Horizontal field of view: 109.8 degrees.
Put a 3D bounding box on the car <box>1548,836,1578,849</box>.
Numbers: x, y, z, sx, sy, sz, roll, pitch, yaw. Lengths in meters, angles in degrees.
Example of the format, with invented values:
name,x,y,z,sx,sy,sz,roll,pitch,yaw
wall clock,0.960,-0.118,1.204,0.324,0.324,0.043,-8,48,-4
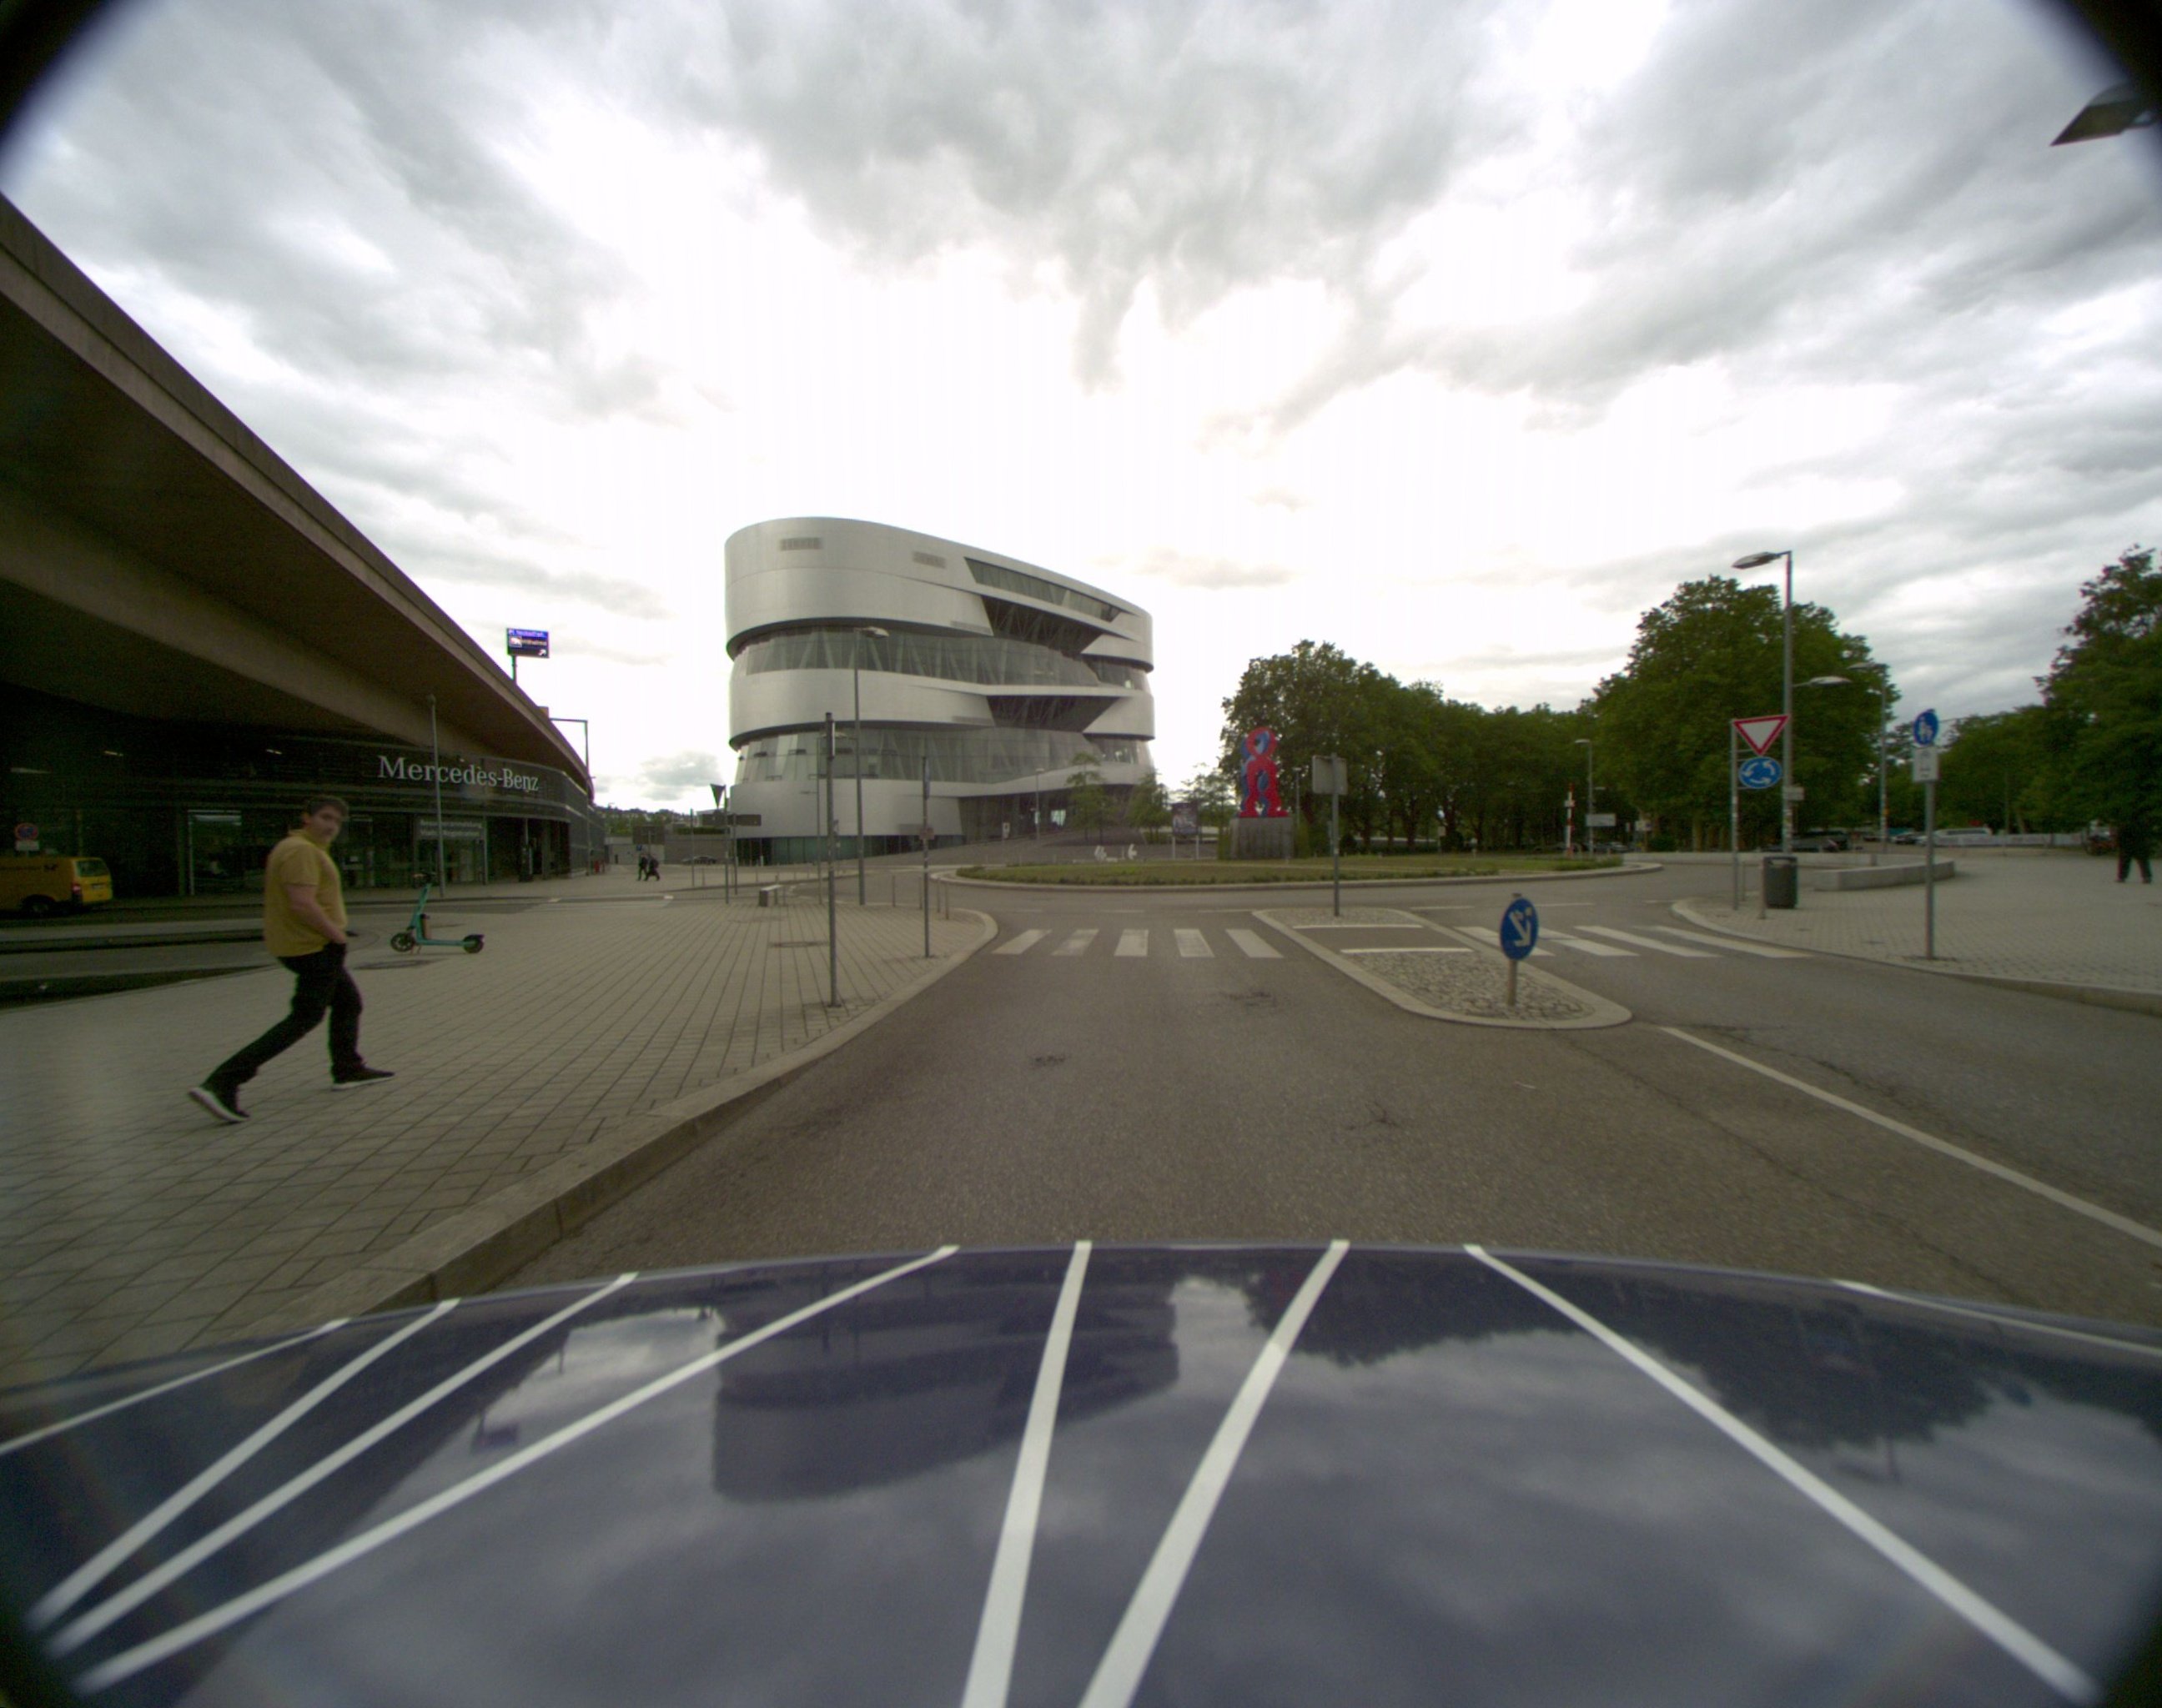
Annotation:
name,x,y,z,sx,sy,sz,roll,pitch,yaw
car,74.743,-1.794,117.844,1.691,1.838,3.440,-2,2,-37

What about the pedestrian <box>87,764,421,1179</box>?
name,x,y,z,sx,sy,sz,roll,pitch,yaw
pedestrian,-4.594,0.575,4.287,0.783,2.002,1.041,-1,0,22

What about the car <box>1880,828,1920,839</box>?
name,x,y,z,sx,sy,sz,roll,pitch,yaw
car,141.434,-3.481,131.256,4.424,1.642,1.800,-1,0,38

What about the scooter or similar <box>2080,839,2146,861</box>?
name,x,y,z,sx,sy,sz,roll,pitch,yaw
scooter or similar,54.253,-0.219,39.981,1.970,1.102,0.642,-1,0,41

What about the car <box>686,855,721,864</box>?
name,x,y,z,sx,sy,sz,roll,pitch,yaw
car,-60.799,0.925,122.522,4.915,1.390,1.531,-1,0,-32

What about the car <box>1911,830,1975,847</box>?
name,x,y,z,sx,sy,sz,roll,pitch,yaw
car,93.387,-1.692,82.405,4.424,1.642,1.800,-1,0,42

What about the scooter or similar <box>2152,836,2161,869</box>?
name,x,y,z,sx,sy,sz,roll,pitch,yaw
scooter or similar,37.741,-0.072,25.513,1.970,1.102,0.642,-1,0,41

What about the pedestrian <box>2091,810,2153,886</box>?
name,x,y,z,sx,sy,sz,roll,pitch,yaw
pedestrian,25.435,-0.139,18.580,0.867,1.797,0.791,-1,0,-42

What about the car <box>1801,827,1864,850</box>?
name,x,y,z,sx,sy,sz,roll,pitch,yaw
car,63.081,-1.276,63.833,1.674,1.767,3.701,-1,0,-44

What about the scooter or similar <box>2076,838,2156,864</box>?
name,x,y,z,sx,sy,sz,roll,pitch,yaw
scooter or similar,45.571,-0.131,33.491,1.970,1.102,0.642,-1,0,41

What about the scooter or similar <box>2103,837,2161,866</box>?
name,x,y,z,sx,sy,sz,roll,pitch,yaw
scooter or similar,41.760,-0.095,29.765,1.970,1.102,0.642,-1,0,41

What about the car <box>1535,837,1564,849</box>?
name,x,y,z,sx,sy,sz,roll,pitch,yaw
car,70.984,-1.693,115.107,3.440,1.675,1.691,0,2,42

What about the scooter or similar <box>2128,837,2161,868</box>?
name,x,y,z,sx,sy,sz,roll,pitch,yaw
scooter or similar,39.180,-0.079,27.156,1.970,1.102,0.642,-1,0,41

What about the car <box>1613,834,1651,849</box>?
name,x,y,z,sx,sy,sz,roll,pitch,yaw
car,70.783,-1.617,97.706,1.674,1.767,3.701,-1,0,-45

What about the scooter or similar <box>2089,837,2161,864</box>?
name,x,y,z,sx,sy,sz,roll,pitch,yaw
scooter or similar,43.997,-0.130,31.880,1.970,1.098,0.642,-1,0,41

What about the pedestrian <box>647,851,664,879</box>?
name,x,y,z,sx,sy,sz,roll,pitch,yaw
pedestrian,-26.631,0.696,47.580,0.774,1.695,0.785,-1,0,-42

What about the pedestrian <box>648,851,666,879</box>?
name,x,y,z,sx,sy,sz,roll,pitch,yaw
pedestrian,-26.156,0.693,46.844,0.774,1.695,0.863,-1,0,-43

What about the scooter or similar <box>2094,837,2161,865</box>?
name,x,y,z,sx,sy,sz,roll,pitch,yaw
scooter or similar,43.477,-0.117,31.302,1.970,1.102,0.642,-1,0,41

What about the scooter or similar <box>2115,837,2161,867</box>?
name,x,y,z,sx,sy,sz,roll,pitch,yaw
scooter or similar,40.395,-0.084,28.389,1.970,1.102,0.642,-1,0,41

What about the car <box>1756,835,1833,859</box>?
name,x,y,z,sx,sy,sz,roll,pitch,yaw
car,48.946,-0.486,52.208,3.815,1.516,1.783,-1,-1,43

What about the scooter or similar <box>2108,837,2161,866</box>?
name,x,y,z,sx,sy,sz,roll,pitch,yaw
scooter or similar,41.002,-0.099,29.043,1.970,1.102,0.642,-1,0,41

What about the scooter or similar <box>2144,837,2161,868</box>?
name,x,y,z,sx,sy,sz,roll,pitch,yaw
scooter or similar,38.235,-0.068,26.051,1.970,1.102,0.642,-1,0,41

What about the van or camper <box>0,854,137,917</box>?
name,x,y,z,sx,sy,sz,roll,pitch,yaw
van or camper,-35.080,1.048,24.966,4.511,1.987,2.357,-1,-1,-27

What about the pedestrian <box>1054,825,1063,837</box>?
name,x,y,z,sx,sy,sz,roll,pitch,yaw
pedestrian,-3.587,-3.722,122.609,0.850,1.914,0.954,-1,4,45

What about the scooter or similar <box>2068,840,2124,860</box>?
name,x,y,z,sx,sy,sz,roll,pitch,yaw
scooter or similar,56.560,-0.208,42.353,1.804,1.088,0.547,-1,0,41

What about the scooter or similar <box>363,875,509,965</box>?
name,x,y,z,sx,sy,sz,roll,pitch,yaw
scooter or similar,-9.588,0.966,11.339,1.649,1.288,0.518,0,0,-7

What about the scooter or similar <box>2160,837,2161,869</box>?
name,x,y,z,sx,sy,sz,roll,pitch,yaw
scooter or similar,37.274,-0.057,24.974,1.970,1.102,0.642,-1,0,41

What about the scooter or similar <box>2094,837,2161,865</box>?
name,x,y,z,sx,sy,sz,roll,pitch,yaw
scooter or similar,42.402,-0.111,30.500,1.970,1.102,0.642,-1,0,41

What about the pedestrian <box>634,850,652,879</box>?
name,x,y,z,sx,sy,sz,roll,pitch,yaw
pedestrian,-27.647,0.669,47.969,0.785,1.788,0.863,-1,0,-40

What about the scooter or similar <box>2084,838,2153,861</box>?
name,x,y,z,sx,sy,sz,roll,pitch,yaw
scooter or similar,52.665,-0.203,38.614,1.970,1.102,0.642,-1,0,41
